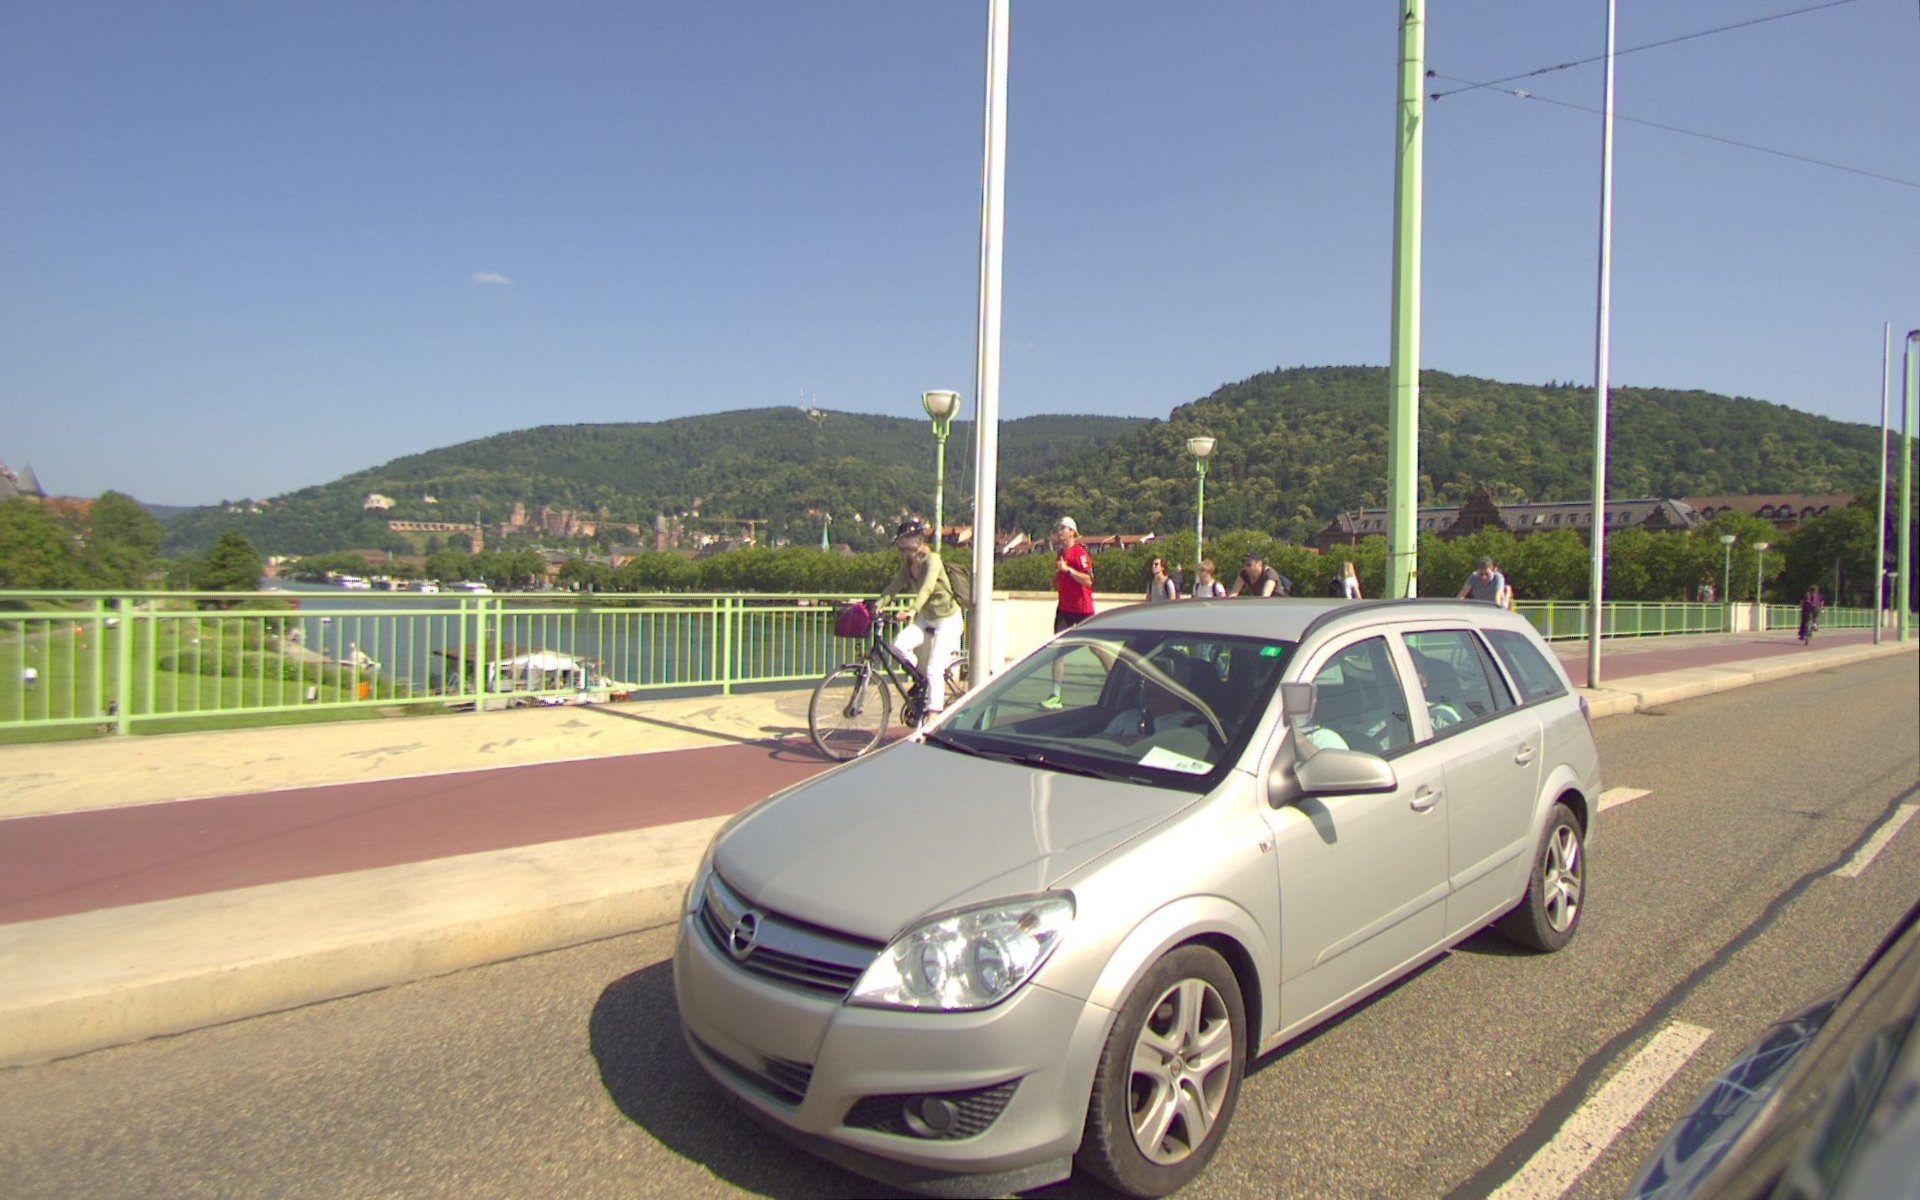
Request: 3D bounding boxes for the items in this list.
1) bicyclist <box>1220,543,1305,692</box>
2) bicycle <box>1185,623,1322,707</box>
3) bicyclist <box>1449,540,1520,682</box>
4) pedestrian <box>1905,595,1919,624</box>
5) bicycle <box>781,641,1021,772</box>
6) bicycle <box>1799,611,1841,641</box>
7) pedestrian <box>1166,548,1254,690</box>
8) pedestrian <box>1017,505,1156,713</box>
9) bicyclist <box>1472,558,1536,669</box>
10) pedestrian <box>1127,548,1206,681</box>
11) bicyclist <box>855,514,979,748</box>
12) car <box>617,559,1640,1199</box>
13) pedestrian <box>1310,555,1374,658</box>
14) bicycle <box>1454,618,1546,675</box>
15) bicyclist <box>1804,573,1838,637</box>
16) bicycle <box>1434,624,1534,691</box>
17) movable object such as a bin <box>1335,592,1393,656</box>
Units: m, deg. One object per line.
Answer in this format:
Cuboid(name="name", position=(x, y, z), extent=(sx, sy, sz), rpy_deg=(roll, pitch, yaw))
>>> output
Cuboid(name="bicyclist", position=(3.333, 0.169, 11.143), extent=(0.690, 1.578, 0.587), rpy_deg=(0, 2, -42))
Cuboid(name="bicycle", position=(3.253, 0.682, 11.111), extent=(1.800, 0.775, 0.594), rpy_deg=(0, 2, -43))
Cuboid(name="bicyclist", position=(7.023, 0.133, 13.541), extent=(0.690, 1.842, 0.587), rpy_deg=(0, 2, -42))
Cuboid(name="pedestrian", position=(57.234, 0.579, 60.473), extent=(1.063, 1.683, 0.949), rpy_deg=(0, 3, -41))
Cuboid(name="bicycle", position=(-0.397, 0.744, 7.593), extent=(1.835, 0.775, 0.594), rpy_deg=(0, 2, -43))
Cuboid(name="bicycle", position=(24.595, 0.737, 28.941), extent=(1.833, 0.775, 0.595), rpy_deg=(0, 2, -40))
Cuboid(name="pedestrian", position=(3.096, 0.211, 12.538), extent=(0.810, 1.679, 0.664), rpy_deg=(0, 2, -41))
Cuboid(name="pedestrian", position=(1.274, 0.069, 10.156), extent=(1.108, 1.948, 0.812), rpy_deg=(0, 2, -41))
Cuboid(name="bicyclist", position=(8.409, 0.192, 15.652), extent=(0.689, 1.670, 0.606), rpy_deg=(0, 2, -40))
Cuboid(name="pedestrian", position=(2.720, 0.171, 13.354), extent=(0.733, 1.679, 0.668), rpy_deg=(0, 2, -41))
Cuboid(name="bicyclist", position=(-0.326, 0.207, 7.639), extent=(0.690, 1.670, 0.587), rpy_deg=(0, 2, -42))
Cuboid(name="car", position=(1.042, 0.653, 4.022), extent=(4.250, 1.484, 1.708), rpy_deg=(0, 0, -41))
Cuboid(name="pedestrian", position=(6.613, 0.099, 17.520), extent=(0.844, 1.727, 0.664), rpy_deg=(0, 2, -41))
Cuboid(name="bicycle", position=(8.362, 0.700, 15.641), extent=(1.833, 0.775, 0.595), rpy_deg=(0, 2, -40))
Cuboid(name="bicyclist", position=(24.621, 0.123, 28.946), extent=(0.660, 1.791, 0.587), rpy_deg=(0, 2, -40))
Cuboid(name="bicycle", position=(7.054, 0.743, 13.595), extent=(1.835, 0.775, 0.594), rpy_deg=(0, 2, -43))
Cuboid(name="movable object such as a bin", position=(7.220, 0.414, 18.074), extent=(0.917, 1.104, 0.583), rpy_deg=(0, 2, -41))
